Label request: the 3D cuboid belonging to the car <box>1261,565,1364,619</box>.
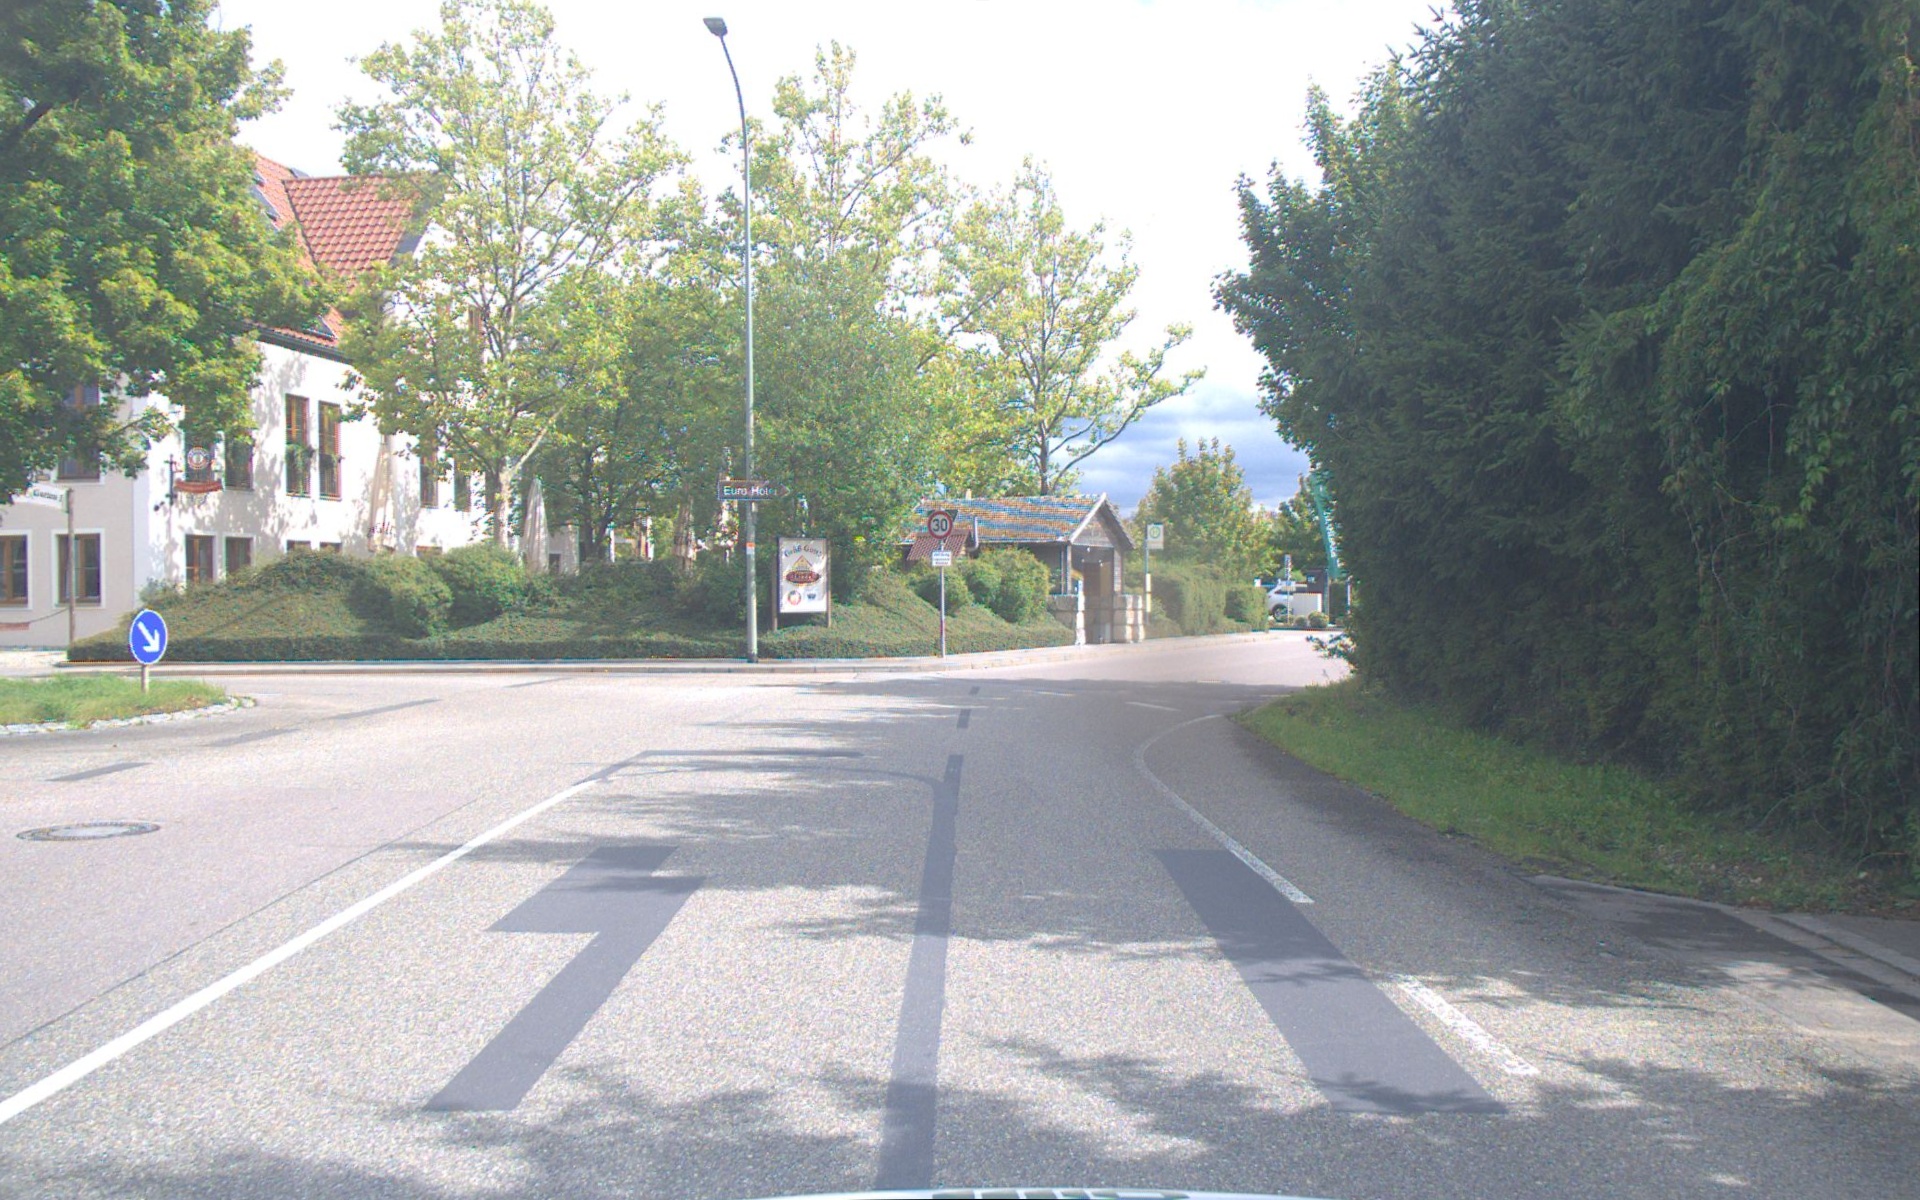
[{"bbox_3d":[14.544,-0.342,68.206,3.905,2.161,1.962,-1,0,22],"label":"car"}]
